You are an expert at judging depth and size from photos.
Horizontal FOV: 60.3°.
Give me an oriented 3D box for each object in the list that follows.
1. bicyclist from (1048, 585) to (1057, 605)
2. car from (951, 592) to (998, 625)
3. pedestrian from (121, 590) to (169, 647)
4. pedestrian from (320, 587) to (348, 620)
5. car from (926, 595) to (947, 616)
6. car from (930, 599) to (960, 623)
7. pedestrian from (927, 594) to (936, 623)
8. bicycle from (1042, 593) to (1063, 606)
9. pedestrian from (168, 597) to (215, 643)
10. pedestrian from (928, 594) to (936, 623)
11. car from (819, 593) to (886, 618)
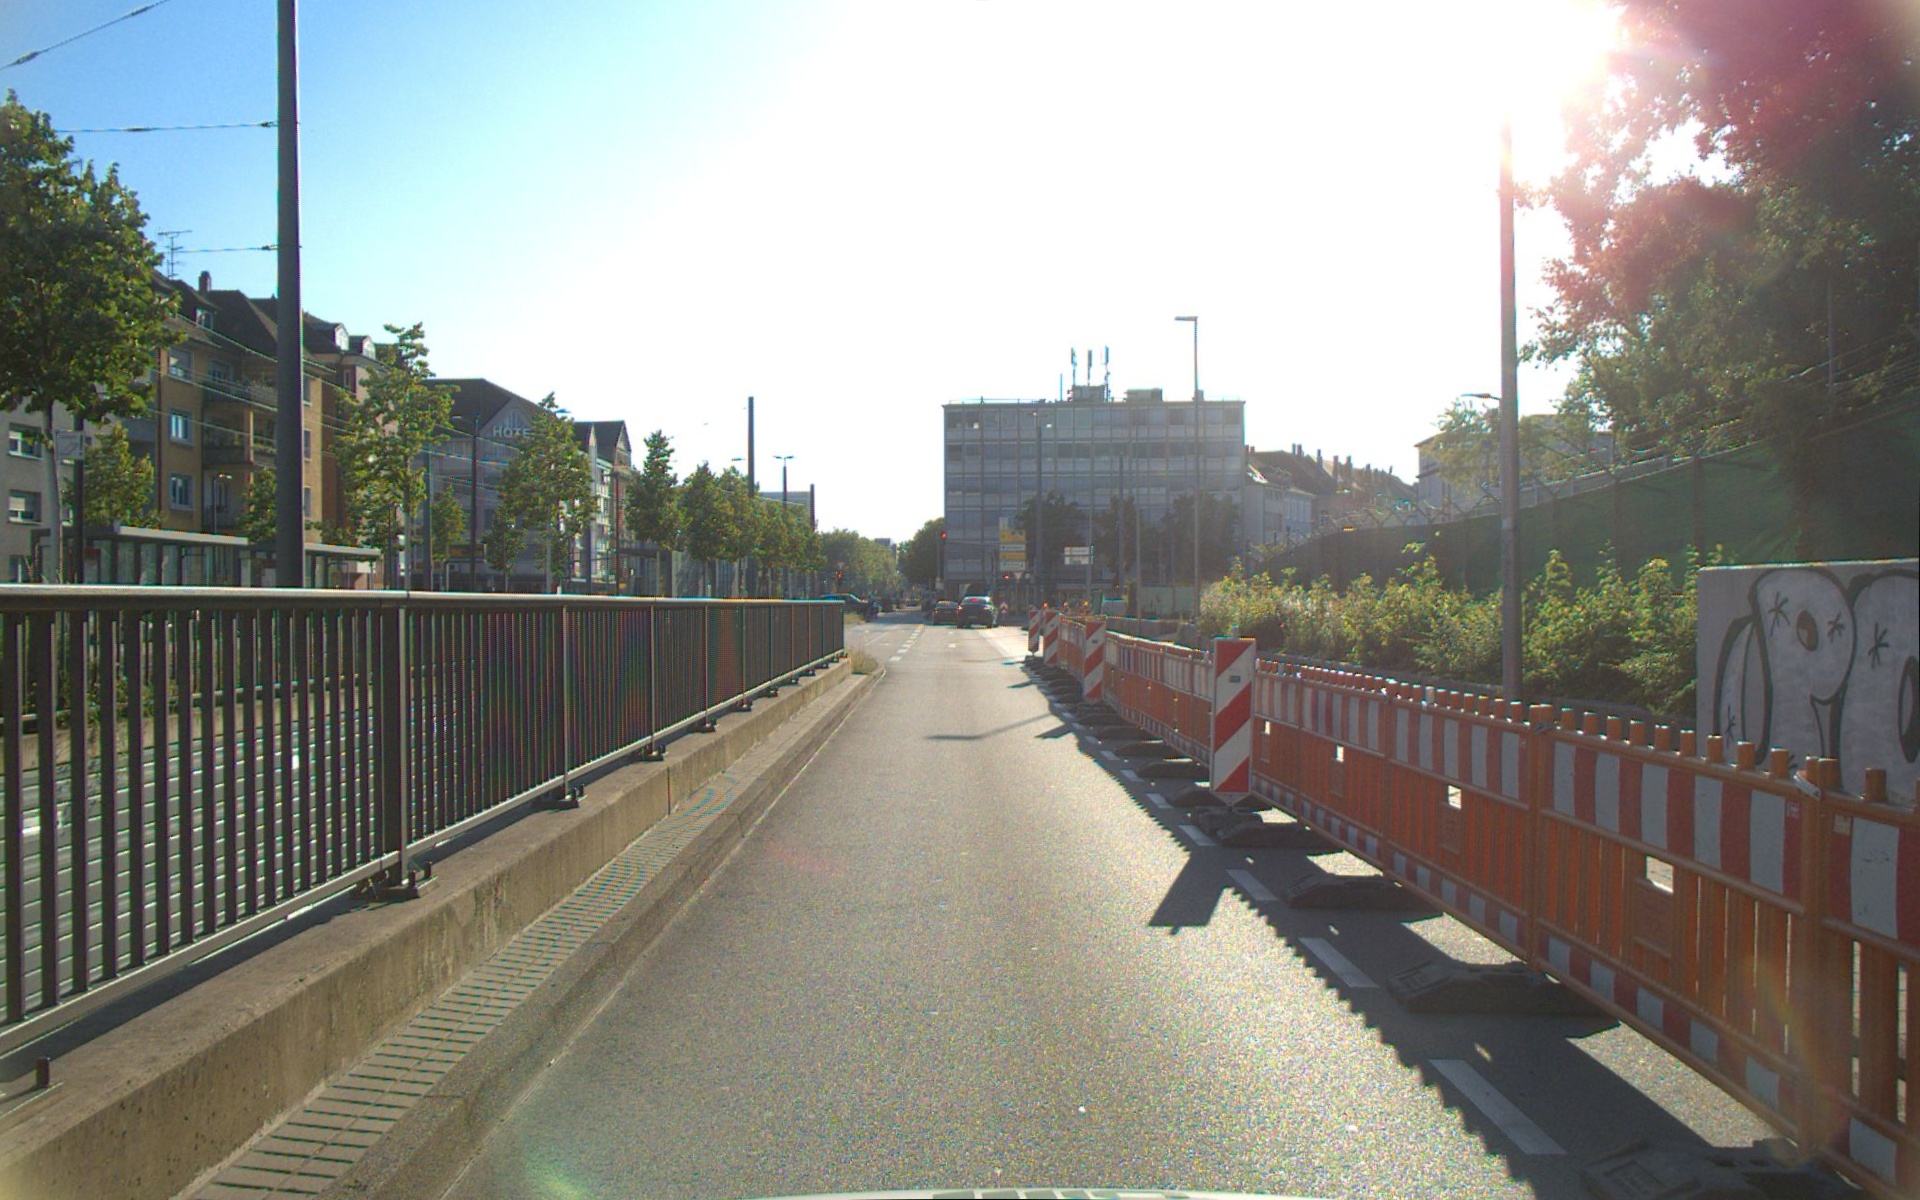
[{"bbox_3d":[8.114,-0.407,145.483,0.651,1.742,0.537,-1,0,-11],"label":"bicyclist"},{"bbox_3d":[0.859,0.477,93.848,1.951,1.723,4.004,1,1,11],"label":"car"},{"bbox_3d":[-20.776,0.467,42.183,0.821,1.435,0.803,-1,0,-1],"label":"pedestrian"},{"bbox_3d":[-20.653,0.118,54.603,0.614,1.065,0.794,-1,0,-1],"label":"pedestrian"},{"bbox_3d":[-2.955,0.668,207.065,2.436,2.434,5.932,-2,0,-2],"label":"car"},{"bbox_3d":[-0.953,0.680,102.934,1.709,1.451,3.998,0,0,-3],"label":"car"},{"bbox_3d":[-2.005,0.604,116.822,0.600,2.049,0.511,0,0,3],"label":"pedestrian"},{"bbox_3d":[8.155,-0.073,145.492,1.744,1.091,0.534,-1,0,-11],"label":"bicycle"},{"bbox_3d":[-20.780,0.540,44.755,0.915,1.218,0.764,-1,0,-1],"label":"pedestrian"},{"bbox_3d":[-1.988,0.605,117.379,0.600,2.049,0.511,0,0,3],"label":"pedestrian"},{"bbox_3d":[-8.202,0.411,125.866,4.715,1.780,2.002,1,0,11],"label":"car"}]
